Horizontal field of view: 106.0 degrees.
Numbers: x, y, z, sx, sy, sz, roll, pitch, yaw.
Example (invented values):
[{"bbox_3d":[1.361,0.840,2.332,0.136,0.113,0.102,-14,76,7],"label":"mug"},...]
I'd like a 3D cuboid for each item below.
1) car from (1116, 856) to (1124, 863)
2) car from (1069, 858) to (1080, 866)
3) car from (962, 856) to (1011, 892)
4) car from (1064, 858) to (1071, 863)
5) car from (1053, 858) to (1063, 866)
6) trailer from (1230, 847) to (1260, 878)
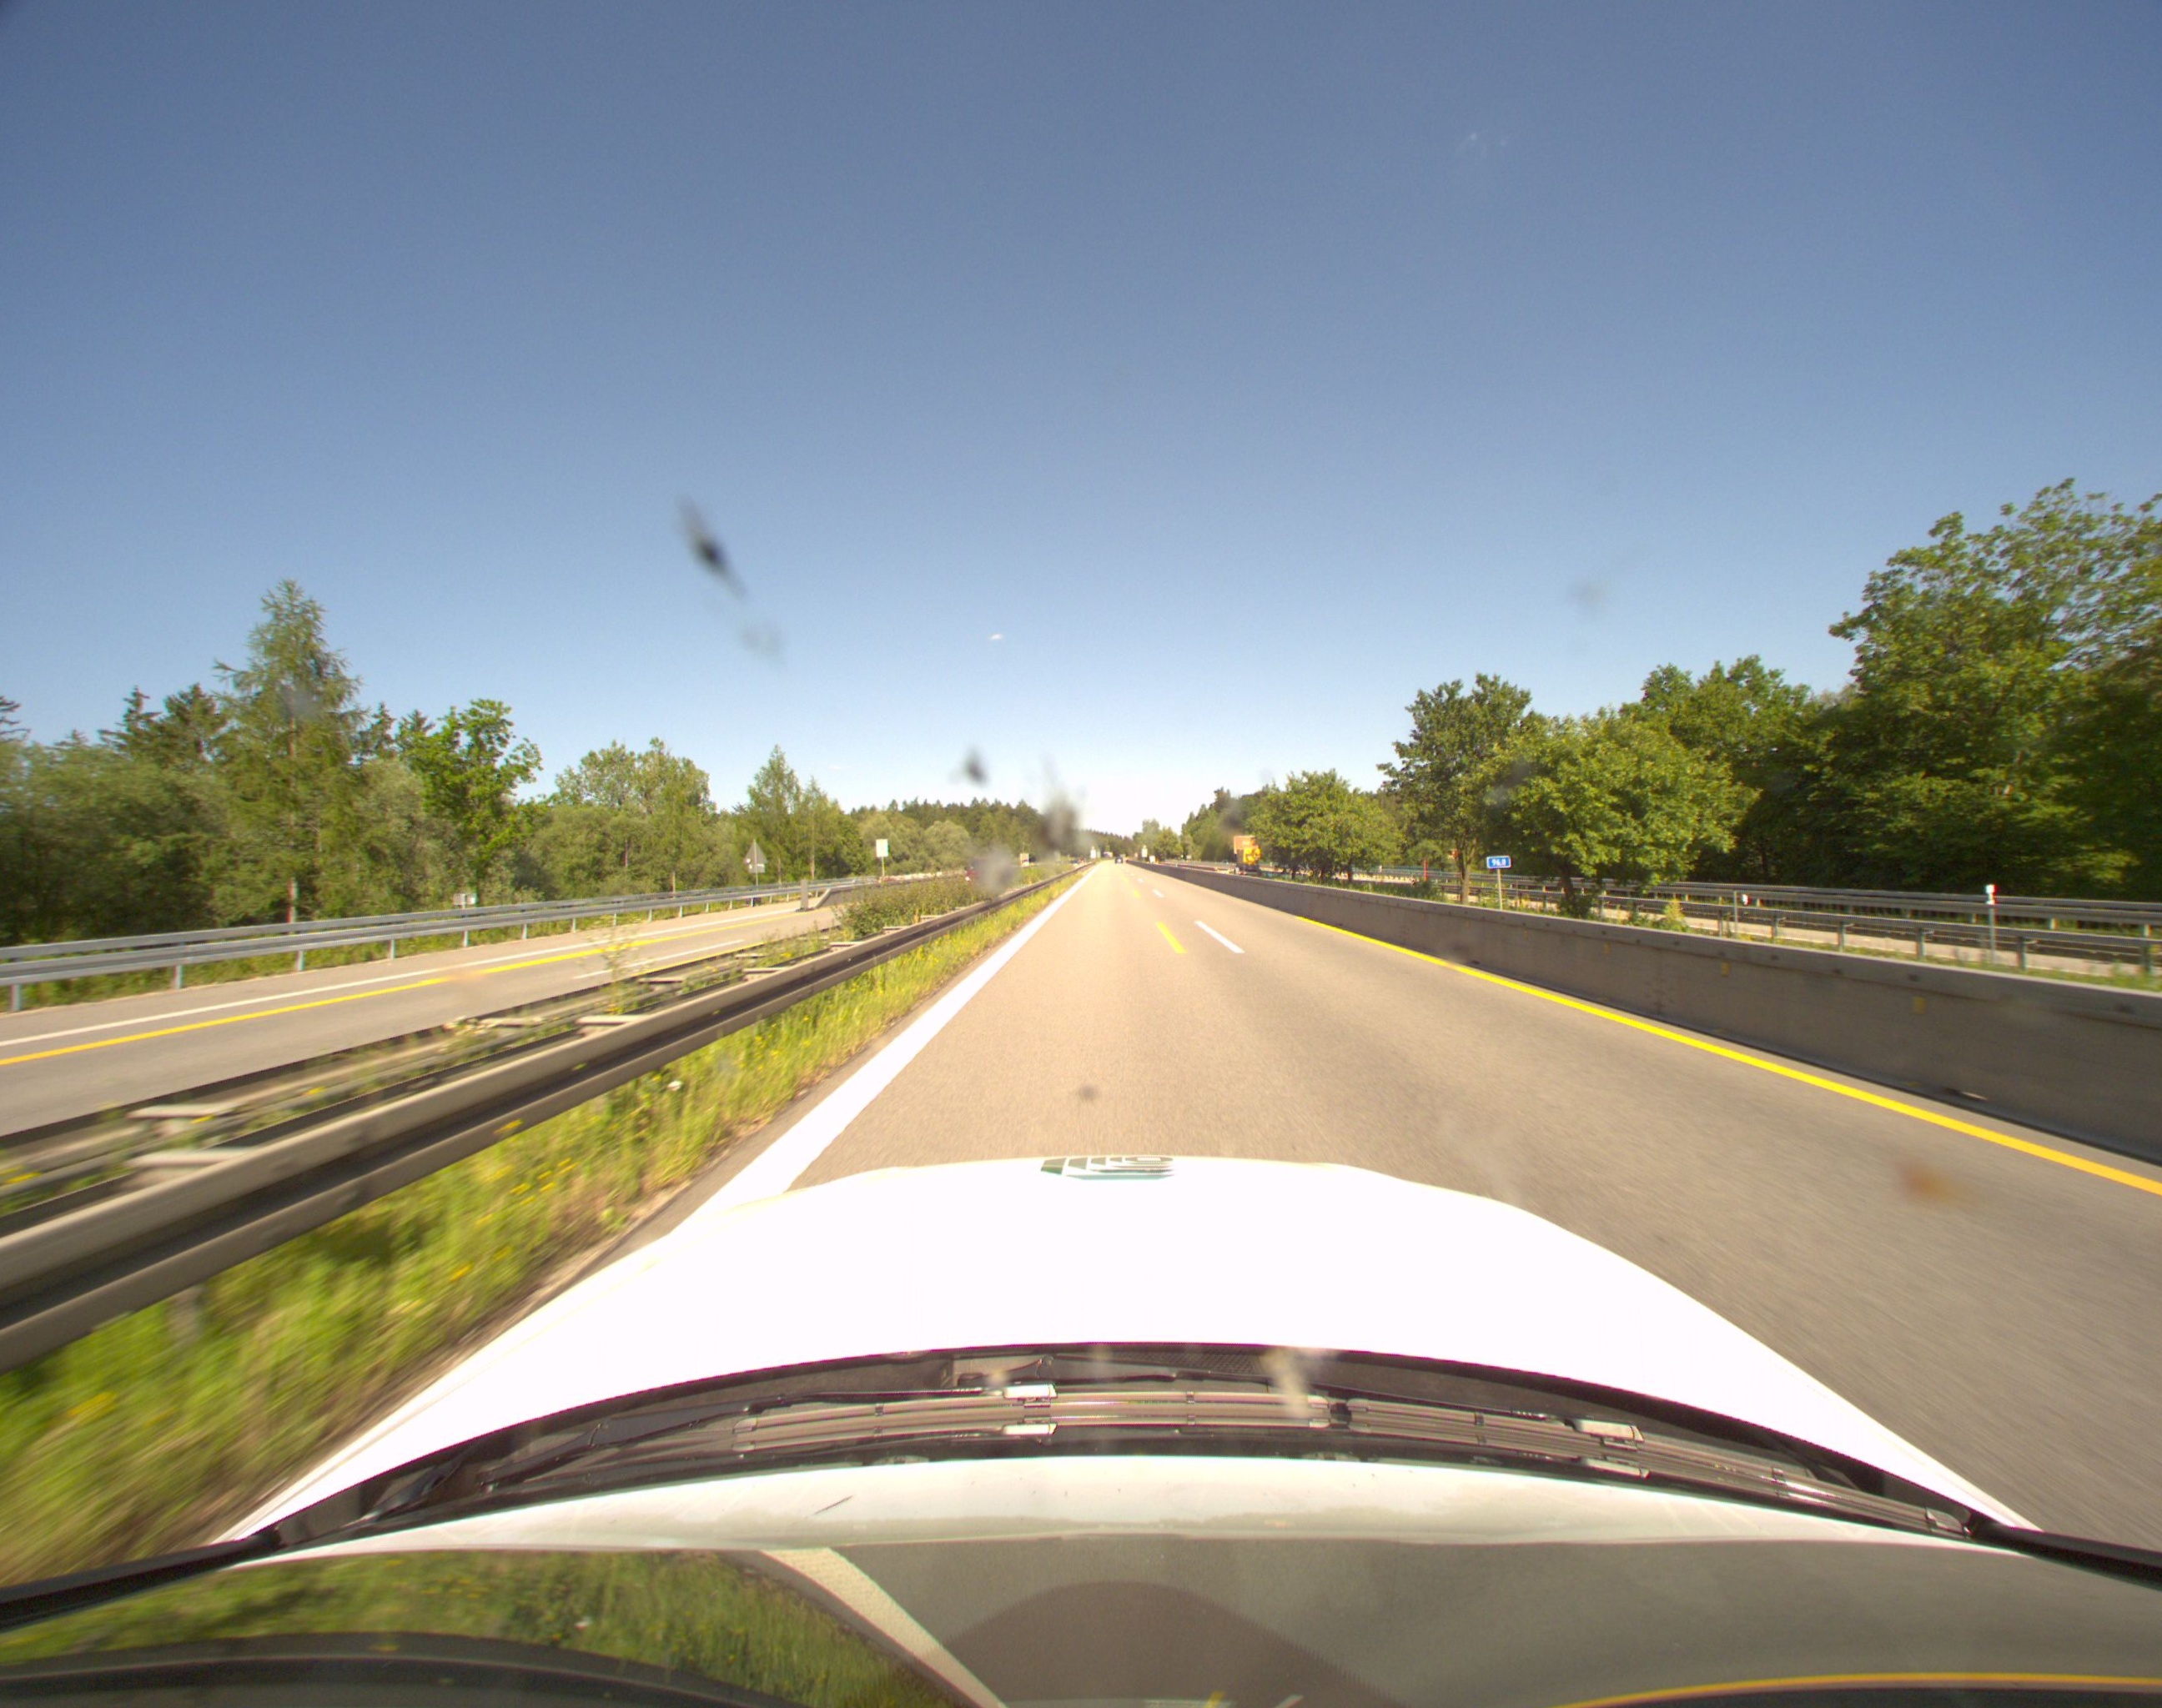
[{"bbox_3d":[9.014,1.347,190.039,1.737,1.466,4.295,-2,0,2],"label":"car"},{"bbox_3d":[-1.222,1.436,149.705,1.639,1.377,4.811,-2,0,3],"label":"car"},{"bbox_3d":[-5.341,1.087,46.680,1.866,1.974,5.581,0,0,3],"label":"car"},{"bbox_3d":[-3.688,1.829,228.645,1.737,1.466,4.911,-2,0,2],"label":"car"},{"bbox_3d":[-4.258,1.556,152.645,1.676,1.393,4.194,-2,0,2],"label":"car"},{"bbox_3d":[10.715,0.539,53.340,1.121,1.873,3.999,-2,0,0],"label":"trailer"}]
